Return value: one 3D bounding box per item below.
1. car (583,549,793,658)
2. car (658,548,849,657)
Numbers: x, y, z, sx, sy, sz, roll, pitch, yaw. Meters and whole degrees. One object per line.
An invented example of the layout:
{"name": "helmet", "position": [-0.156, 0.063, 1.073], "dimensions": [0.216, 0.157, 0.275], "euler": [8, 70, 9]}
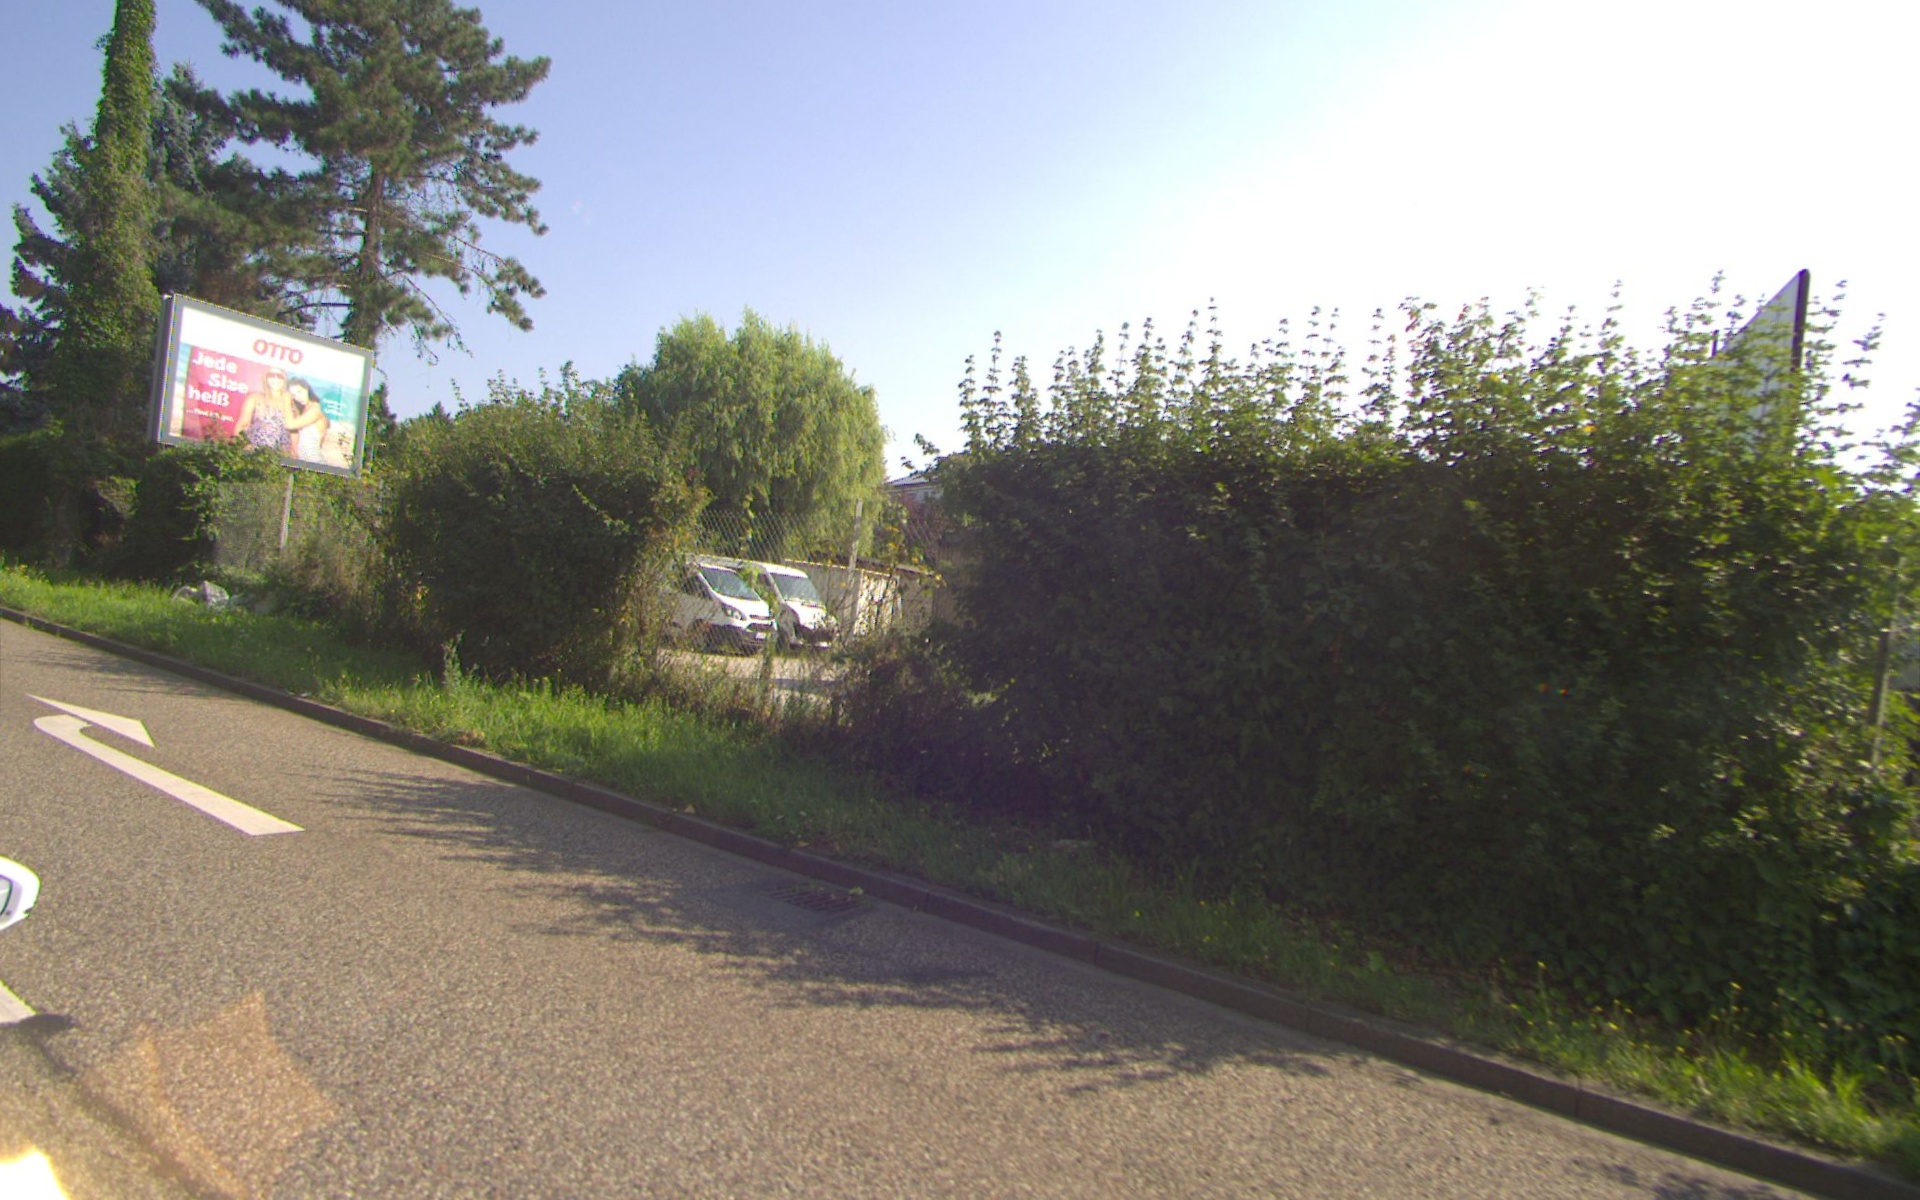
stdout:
{"name": "car", "position": [-6.345, 0.055, 23.309], "dimensions": [4.587, 1.947, 1.750], "euler": [6, -1, 28]}
{"name": "car", "position": [-5.355, 0.045, 25.949], "dimensions": [4.587, 2.250, 1.750], "euler": [6, -1, 28]}
